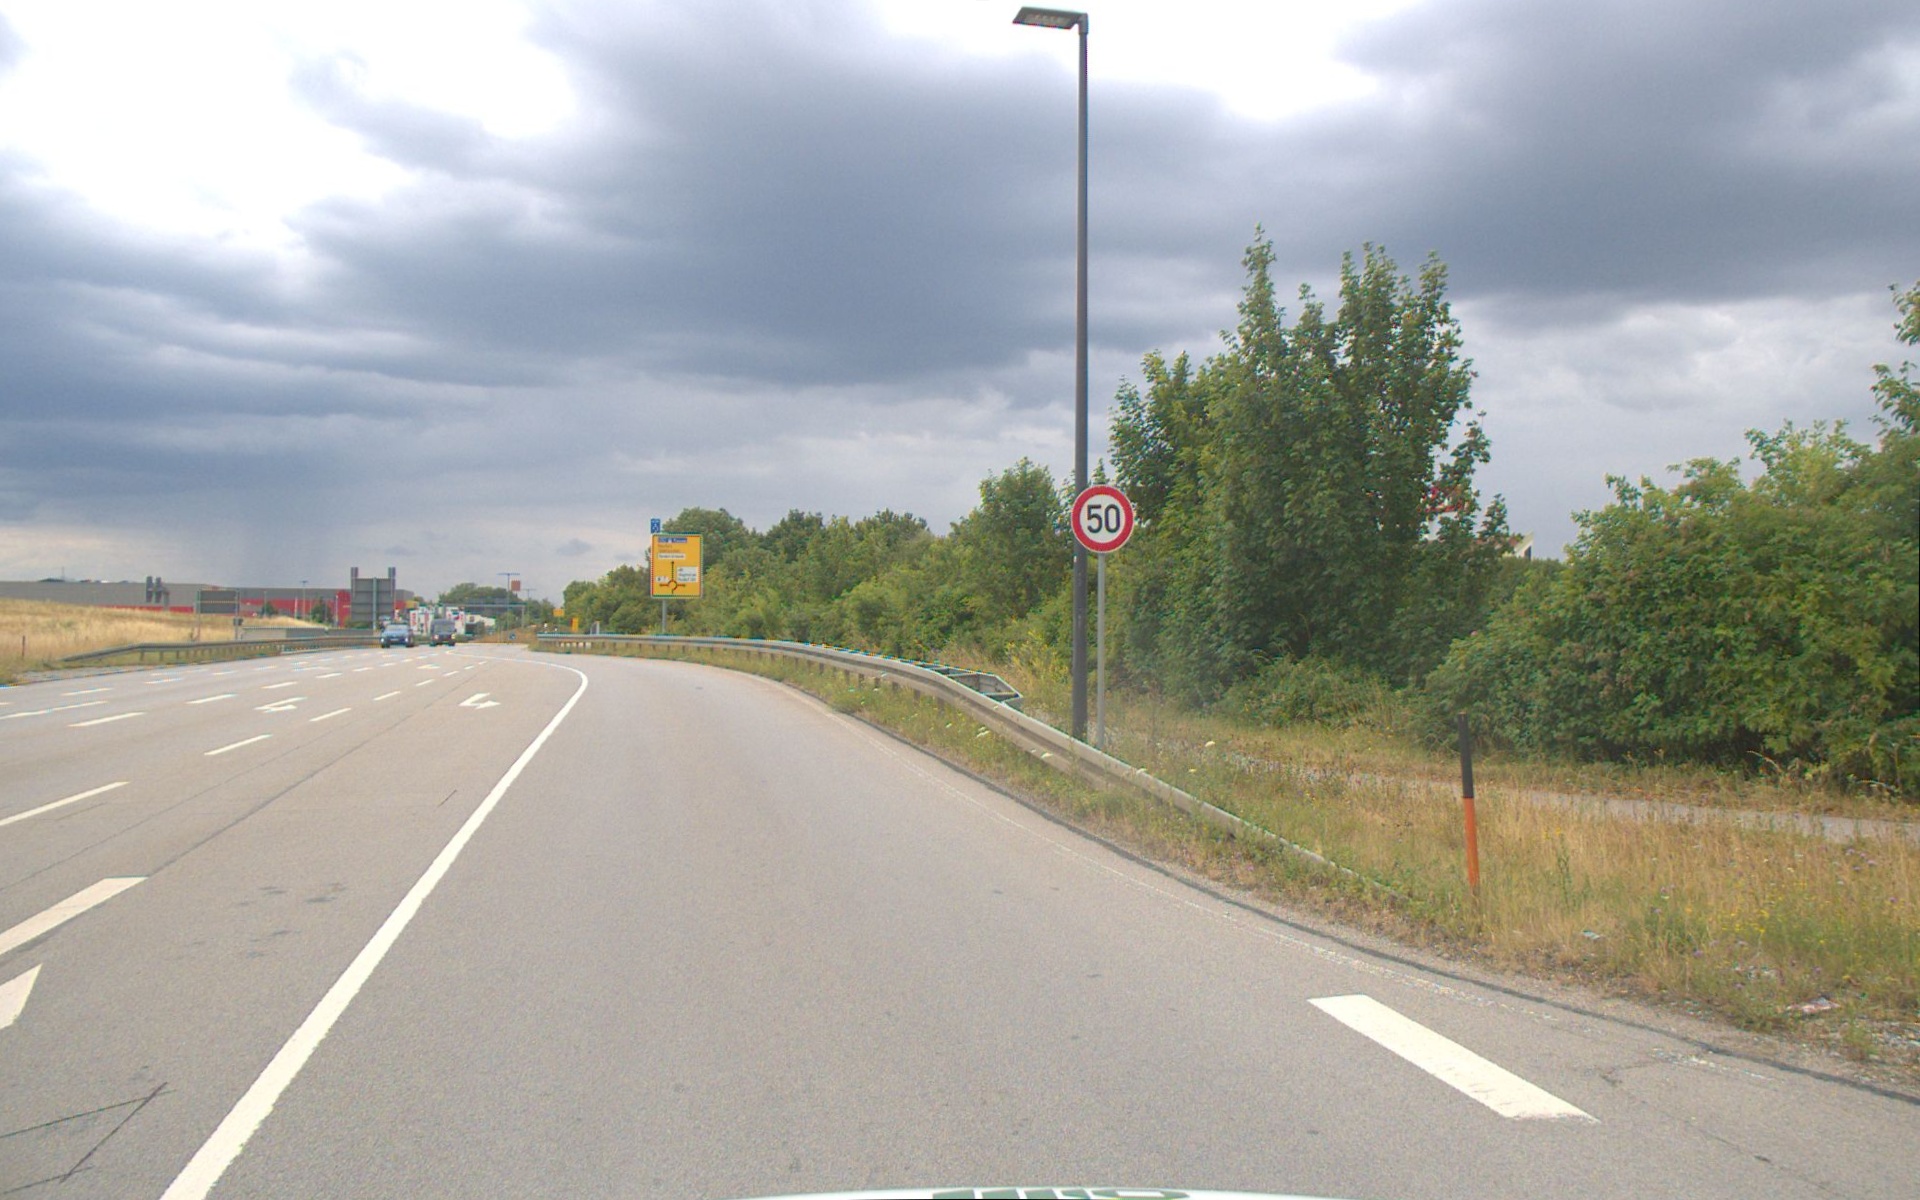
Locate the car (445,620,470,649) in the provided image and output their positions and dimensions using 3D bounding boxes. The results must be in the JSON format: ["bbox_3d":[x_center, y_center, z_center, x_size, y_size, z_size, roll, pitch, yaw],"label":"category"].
[{"bbox_3d":[-47.317,3.248,155.874,1.960,2.638,5.980,0,-1,-14],"label":"car"}]

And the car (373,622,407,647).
[{"bbox_3d":[-37.074,2.225,107.693,1.767,1.578,3.984,0,-1,-14],"label":"car"}]
